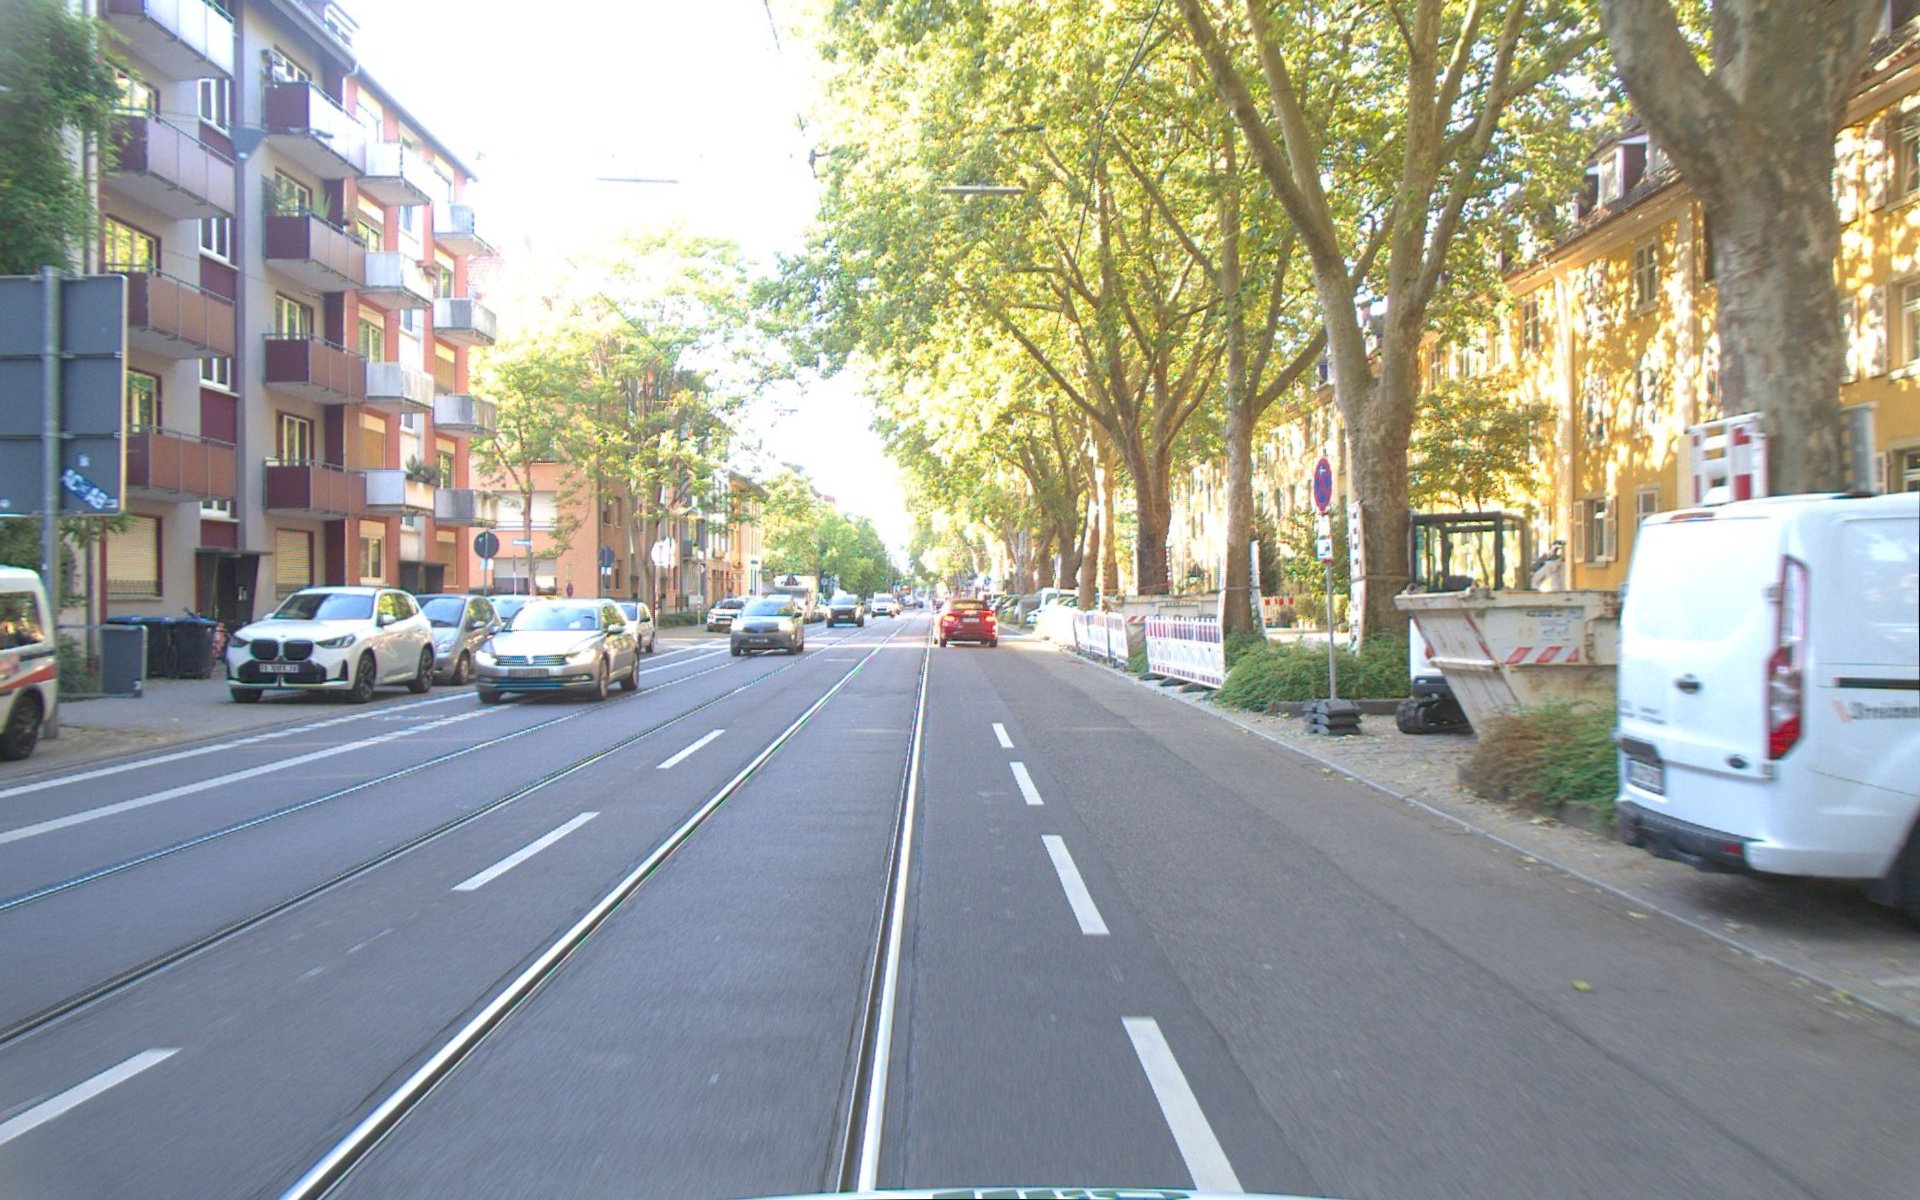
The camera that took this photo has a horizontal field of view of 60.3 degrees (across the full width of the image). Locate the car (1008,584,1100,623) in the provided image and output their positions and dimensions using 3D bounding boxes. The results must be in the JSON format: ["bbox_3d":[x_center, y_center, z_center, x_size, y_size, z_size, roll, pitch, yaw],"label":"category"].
[{"bbox_3d":[5.063,0.186,89.173,4.740,1.998,2.063,0,0,-3],"label":"car"}]

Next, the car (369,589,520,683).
[{"bbox_3d":[-9.438,0.635,30.554,1.592,1.599,3.781,0,0,0],"label":"car"}]

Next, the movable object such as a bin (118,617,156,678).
[{"bbox_3d":[-14.839,0.850,29.822,0.451,1.074,0.492,0,0,-1],"label":"movable object such as a bin"}]

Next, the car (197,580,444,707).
[{"bbox_3d":[-9.439,0.601,24.888,1.913,1.677,4.879,1,0,-2],"label":"car"}]

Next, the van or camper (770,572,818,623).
[{"bbox_3d":[-10.666,-0.163,106.655,2.290,3.094,6.397,3,0,0],"label":"van or camper"}]

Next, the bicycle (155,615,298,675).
[{"bbox_3d":[-14.193,0.864,32.039,2.402,1.081,0.698,1,0,-4],"label":"bicycle"}]

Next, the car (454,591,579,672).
[{"bbox_3d":[-9.478,0.637,35.641,1.783,1.614,4.003,1,0,-3],"label":"car"}]

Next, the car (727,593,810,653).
[{"bbox_3d":[-5.068,0.586,44.194,1.759,1.471,4.052,-2,0,-1],"label":"car"}]

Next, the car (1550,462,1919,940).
[{"bbox_3d":[5.677,0.396,8.220,4.737,2.048,2.063,-1,0,-1],"label":"car"}]

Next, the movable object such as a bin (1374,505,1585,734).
[{"bbox_3d":[5.840,0.186,18.391,1.455,2.309,3.268,0,0,32],"label":"movable object such as a bin"}]

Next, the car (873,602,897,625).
[{"bbox_3d":[-6.140,1.100,136.087,1.853,1.864,4.894,0,0,-1],"label":"car"}]

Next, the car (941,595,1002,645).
[{"bbox_3d":[0.320,0.578,49.994,1.756,1.413,4.236,1,0,0],"label":"car"}]

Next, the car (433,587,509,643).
[{"bbox_3d":[-19.525,0.599,65.959,1.972,2.160,4.677,1,-1,-29],"label":"car"}]

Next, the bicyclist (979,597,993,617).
[{"bbox_3d":[2.299,0.570,144.750,1.027,1.735,1.055,0,0,-10],"label":"bicyclist"}]

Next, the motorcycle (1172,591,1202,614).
[{"bbox_3d":[14.567,0.169,106.151,1.768,1.384,0.622,-3,0,-4],"label":"motorcycle"}]

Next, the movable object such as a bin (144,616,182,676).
[{"bbox_3d":[-14.383,0.828,29.859,0.451,1.074,0.492,0,0,-1],"label":"movable object such as a bin"}]

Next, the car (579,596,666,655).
[{"bbox_3d":[-9.360,0.671,46.082,1.690,1.509,3.929,2,0,-2],"label":"car"}]

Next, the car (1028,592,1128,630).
[{"bbox_3d":[4.937,0.470,69.394,4.006,1.548,1.916,0,-1,-2],"label":"car"}]

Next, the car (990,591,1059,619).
[{"bbox_3d":[4.243,0.320,108.425,4.402,1.630,2.028,-2,0,3],"label":"car"}]

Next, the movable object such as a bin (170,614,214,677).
[{"bbox_3d":[-13.874,0.822,29.887,0.567,1.119,0.498,0,0,-1],"label":"movable object such as a bin"}]

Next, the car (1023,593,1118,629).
[{"bbox_3d":[5.048,0.481,75.704,4.279,1.569,1.802,0,1,3],"label":"car"}]

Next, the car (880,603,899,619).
[{"bbox_3d":[-6.853,1.050,161.352,1.740,1.483,4.201,-2,0,-1],"label":"car"}]

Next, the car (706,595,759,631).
[{"bbox_3d":[-10.151,0.582,74.018,1.769,1.504,4.089,2,0,0],"label":"car"}]

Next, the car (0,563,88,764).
[{"bbox_3d":[-9.403,0.555,14.127,1.753,1.802,4.467,1,0,-4],"label":"car"}]

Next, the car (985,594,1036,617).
[{"bbox_3d":[3.930,0.416,128.483,3.845,1.699,1.960,0,0,-3],"label":"car"}]

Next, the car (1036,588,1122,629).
[{"bbox_3d":[5.282,0.368,73.683,3.764,1.803,1.917,0,0,3],"label":"car"}]

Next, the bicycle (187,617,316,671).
[{"bbox_3d":[-14.207,0.884,33.189,2.244,1.010,0.698,2,0,-4],"label":"bicycle"}]

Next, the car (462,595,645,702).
[{"bbox_3d":[-6.068,0.693,25.207,1.759,1.471,4.714,0,-1,-2],"label":"car"}]

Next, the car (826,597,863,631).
[{"bbox_3d":[-6.015,0.705,86.318,1.817,1.628,4.460,2,0,-4],"label":"car"}]
